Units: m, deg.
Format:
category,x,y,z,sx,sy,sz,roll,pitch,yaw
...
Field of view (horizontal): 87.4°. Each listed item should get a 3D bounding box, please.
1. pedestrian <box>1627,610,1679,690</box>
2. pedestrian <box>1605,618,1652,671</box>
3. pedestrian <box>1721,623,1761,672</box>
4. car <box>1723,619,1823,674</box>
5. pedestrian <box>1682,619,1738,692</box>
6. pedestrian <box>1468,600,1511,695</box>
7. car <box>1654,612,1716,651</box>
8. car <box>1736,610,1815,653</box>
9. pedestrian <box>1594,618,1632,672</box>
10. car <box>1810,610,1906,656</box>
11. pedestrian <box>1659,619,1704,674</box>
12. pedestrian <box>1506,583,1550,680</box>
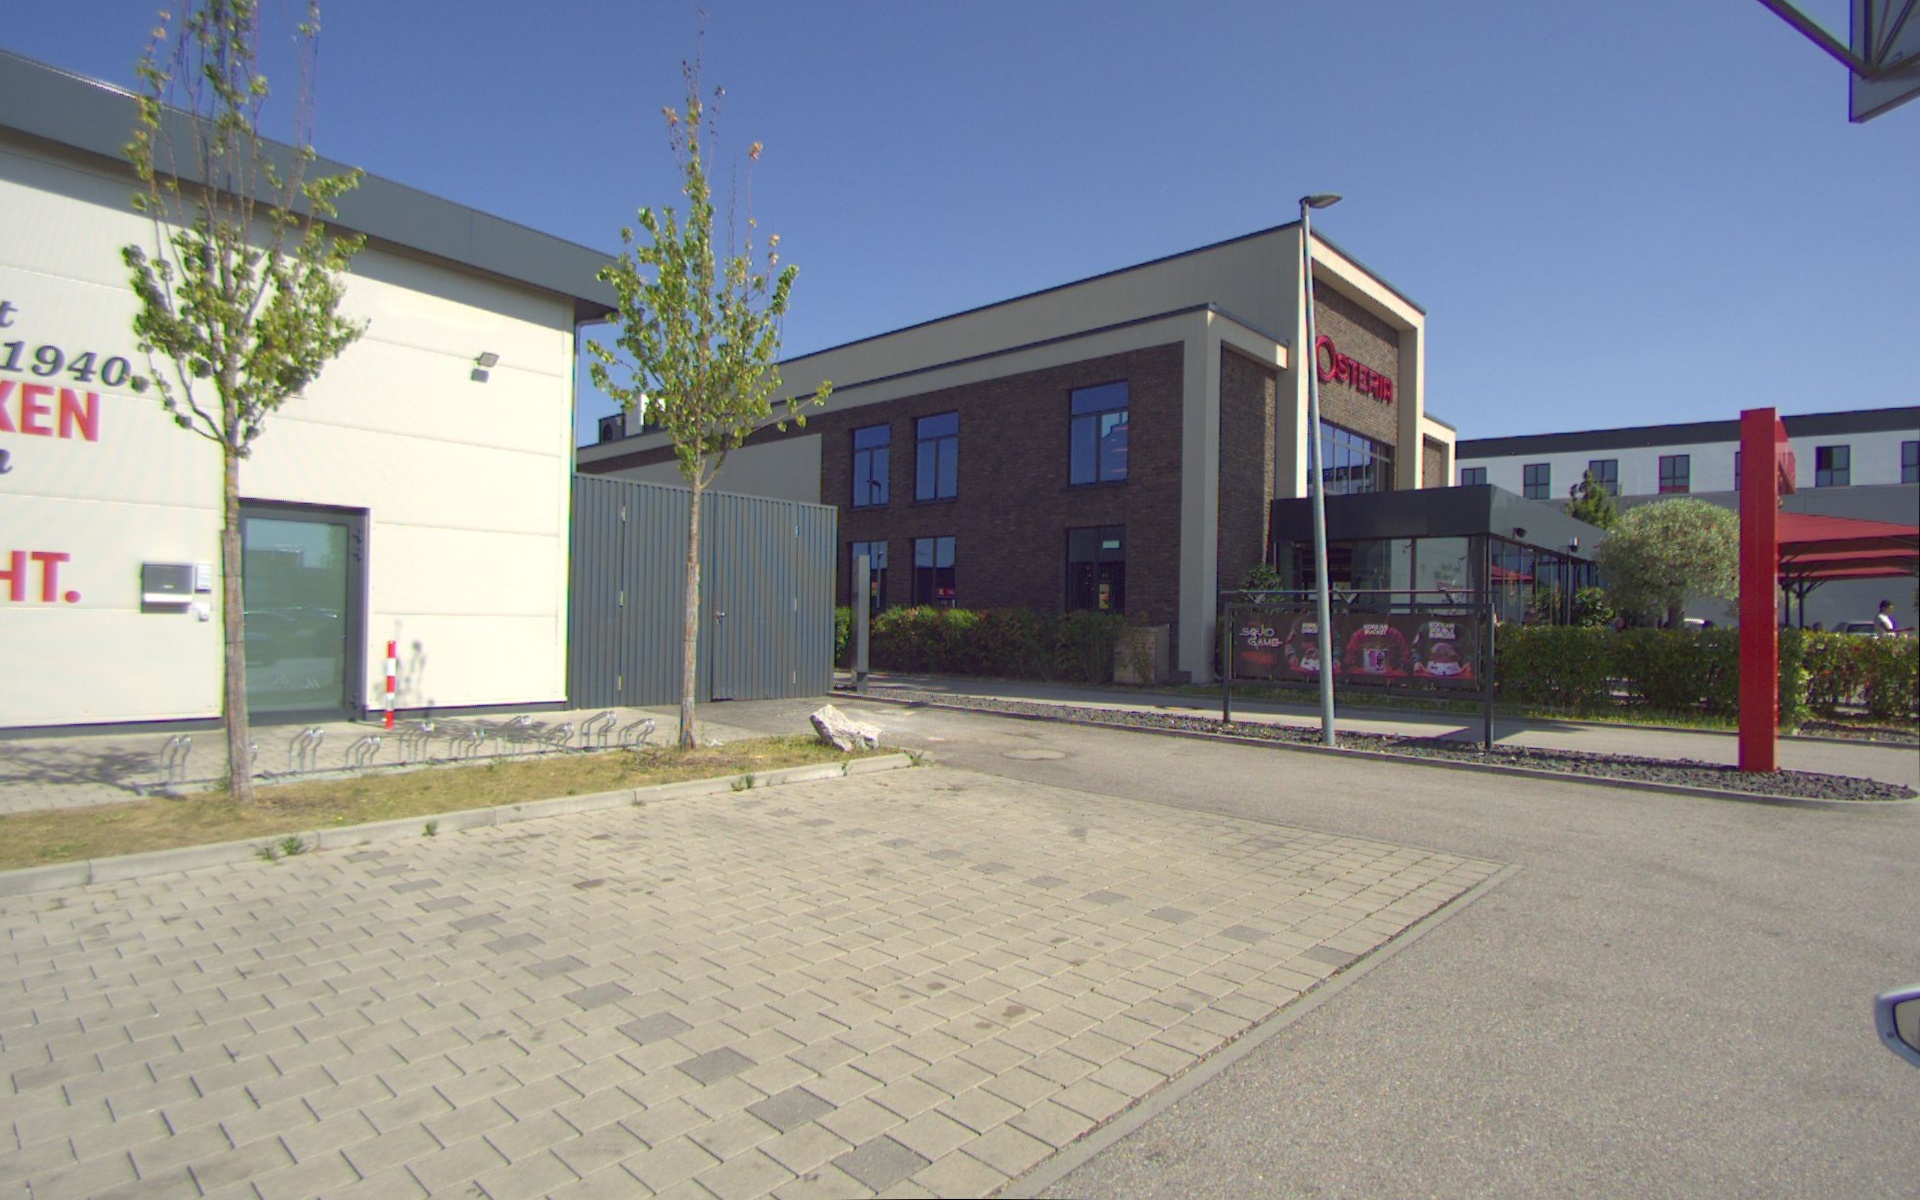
category,x,y,z,sx,sy,sz,roll,pitch,yaw
pedestrian,12.116,0.863,17.579,0.637,1.385,0.482,0,0,18
pedestrian,15.740,1.035,23.652,0.606,1.214,0.707,0,0,-17
pedestrian,18.007,1.086,23.159,0.538,1.104,0.573,0,0,-31
car,21.246,1.173,26.189,3.816,1.326,1.626,1,-1,-45
pedestrian,12.716,0.936,17.051,0.637,1.201,0.482,0,0,18
pedestrian,8.710,0.768,16.531,0.518,1.525,0.566,0,0,40
car,29.564,1.251,41.051,1.707,1.507,3.942,0,-1,31
car,31.900,1.187,39.381,1.852,1.607,4.100,0,-1,31
pedestrian,14.924,1.015,22.941,0.698,1.214,0.666,0,0,36
car,34.086,1.207,38.252,1.920,1.607,4.367,0,-1,31
pedestrian,16.319,1.047,22.716,0.611,1.214,0.702,0,0,-39
pedestrian,9.137,0.499,16.149,0.518,1.525,0.566,0,0,40
